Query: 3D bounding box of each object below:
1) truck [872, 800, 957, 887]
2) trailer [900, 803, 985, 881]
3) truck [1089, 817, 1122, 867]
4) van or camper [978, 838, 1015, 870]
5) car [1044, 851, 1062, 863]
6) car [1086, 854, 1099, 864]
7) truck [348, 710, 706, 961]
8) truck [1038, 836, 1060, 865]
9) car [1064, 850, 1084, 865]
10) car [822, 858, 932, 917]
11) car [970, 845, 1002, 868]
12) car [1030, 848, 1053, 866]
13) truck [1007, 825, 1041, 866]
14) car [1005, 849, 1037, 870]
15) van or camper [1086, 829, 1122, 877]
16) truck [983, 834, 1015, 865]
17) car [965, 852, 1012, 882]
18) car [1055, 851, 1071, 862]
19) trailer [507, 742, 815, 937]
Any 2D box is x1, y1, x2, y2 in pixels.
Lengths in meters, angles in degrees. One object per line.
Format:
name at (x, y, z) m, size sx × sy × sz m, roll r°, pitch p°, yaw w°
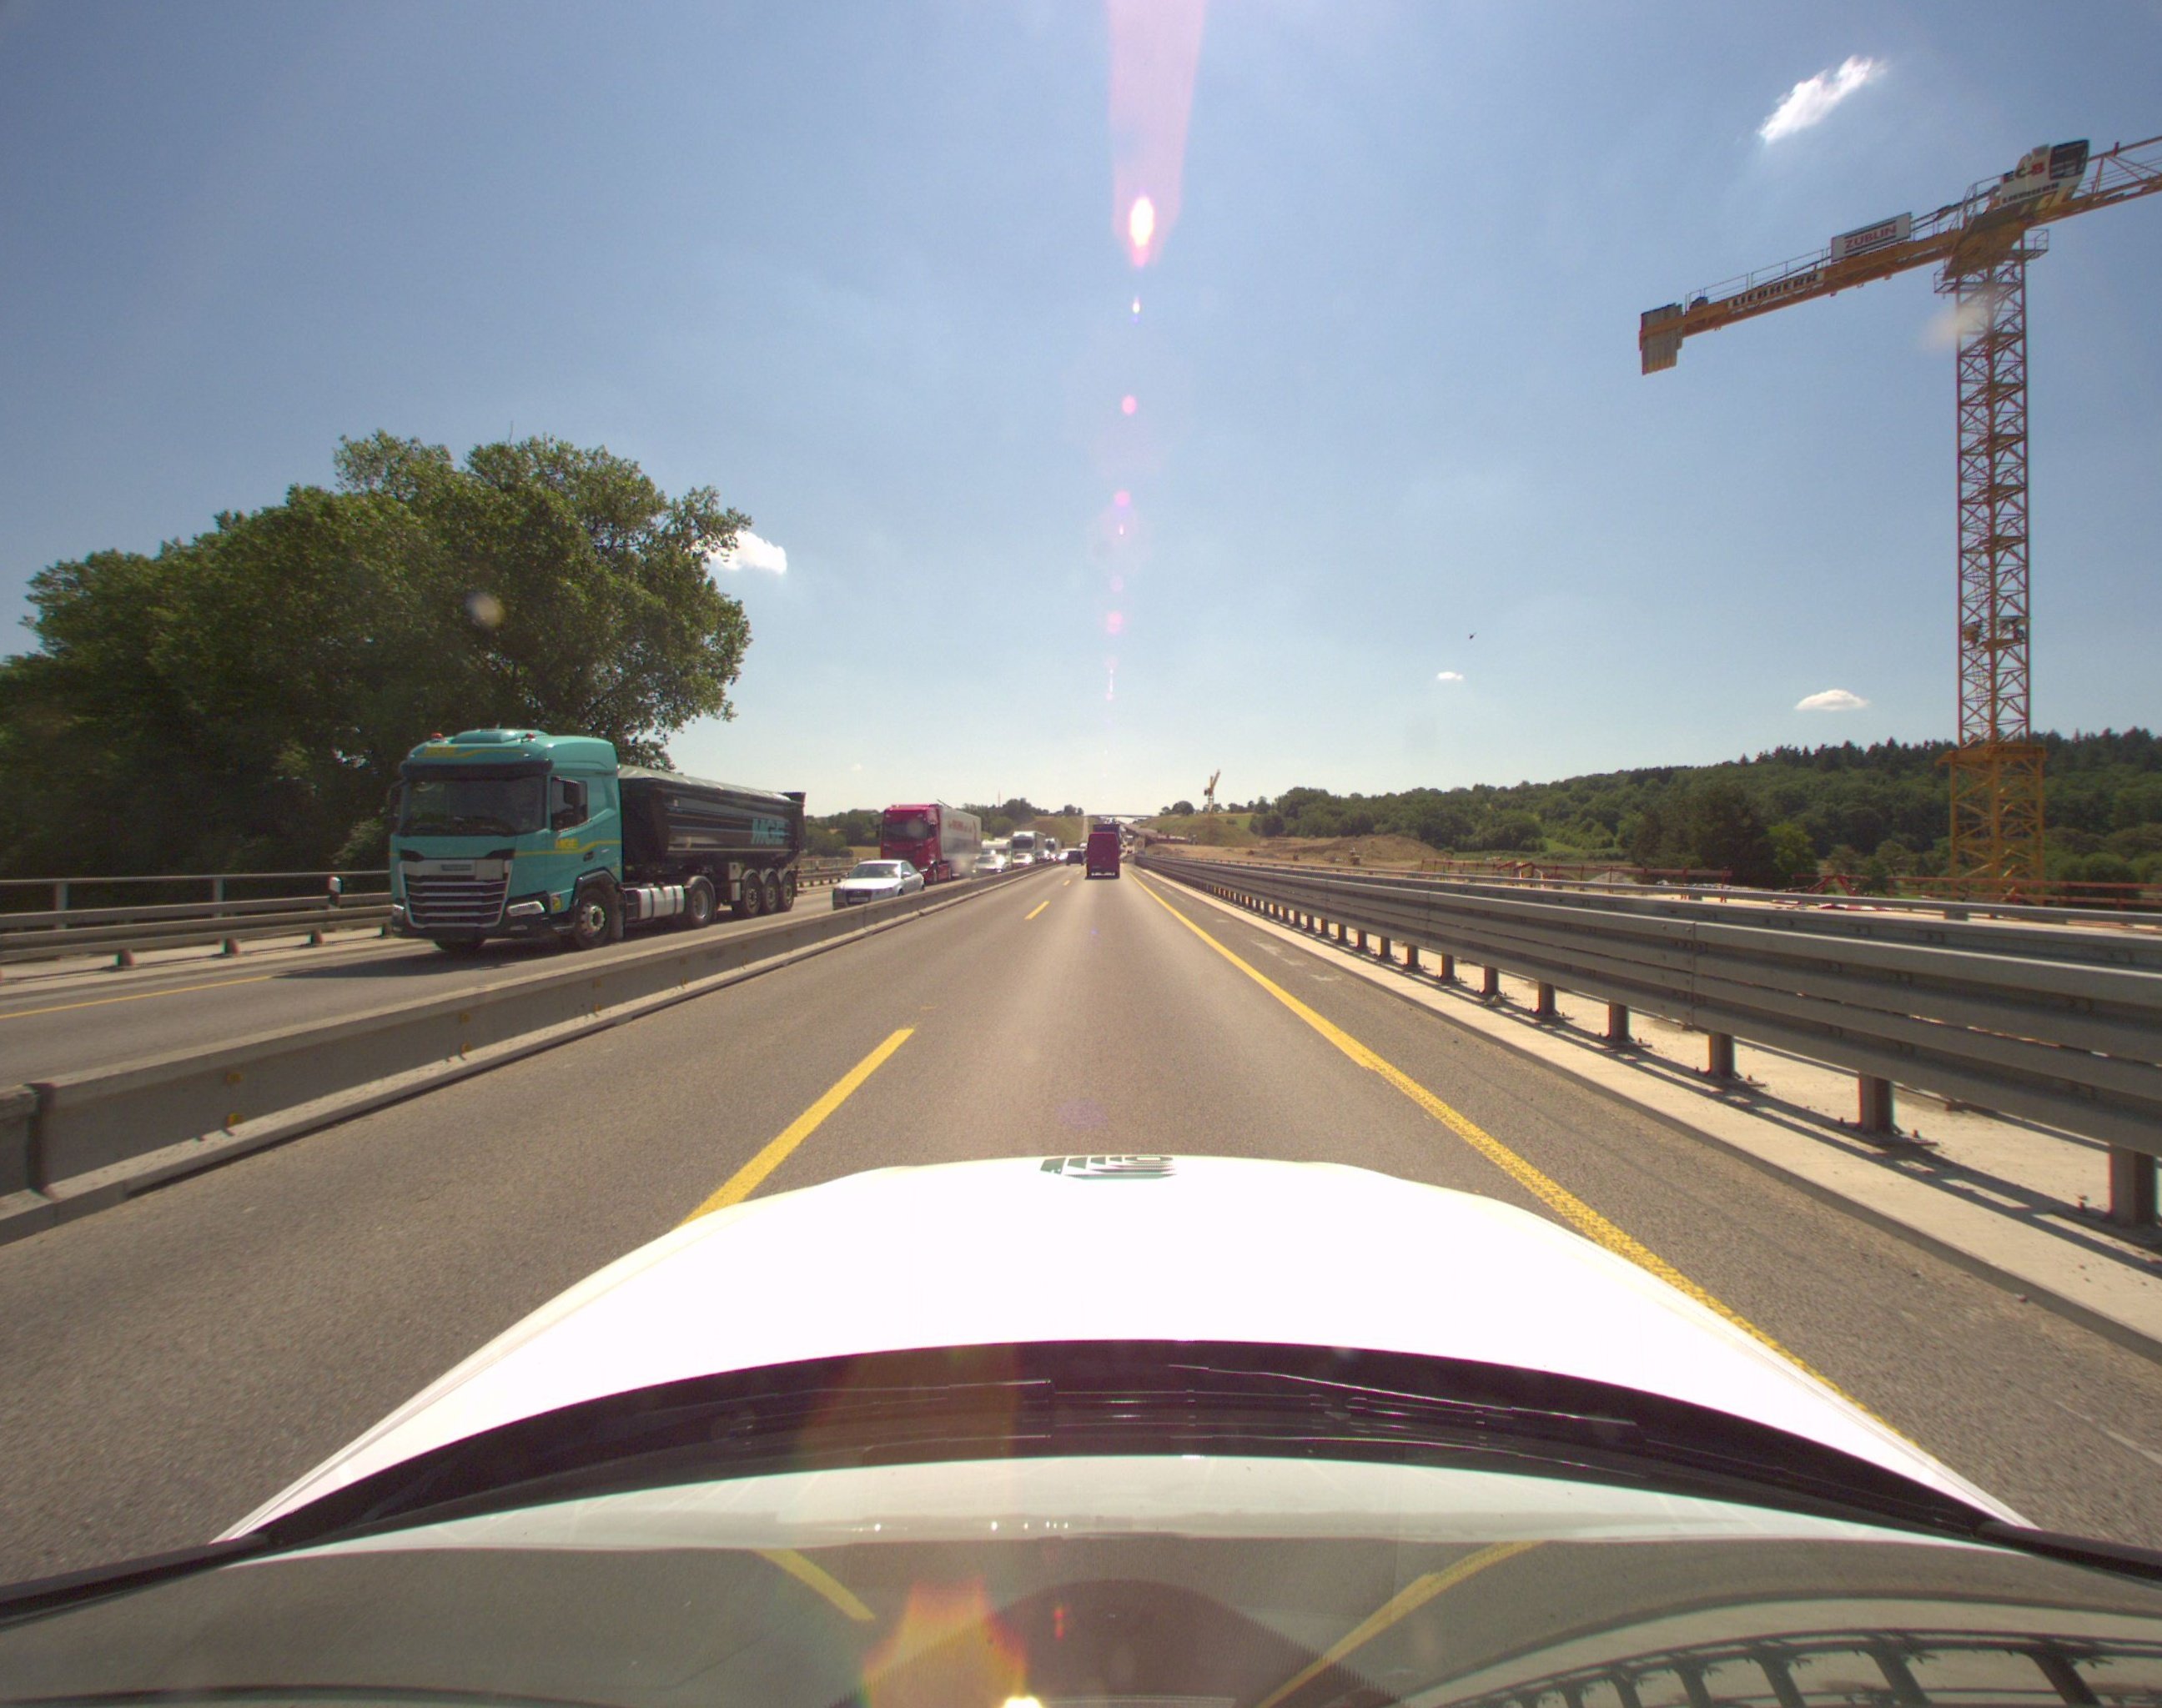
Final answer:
truck at (-8.340, -0.532, 41.692) m, size 2.805 × 4.037 × 6.525 m, roll 0°, pitch 1°, yaw 2°
trailer at (-8.114, -0.699, 49.589) m, size 2.796 × 4.176 × 11.804 m, roll 0°, pitch 1°, yaw 2°
truck at (2.374, -1.130, 81.607) m, size 3.011 × 4.693 × 6.931 m, roll -2°, pitch 0°, yaw 0°
van or camper at (-7.409, -0.003, 71.861) m, size 2.493 × 2.698 × 5.247 m, roll -1°, pitch 0°, yaw 3°
car at (-3.224, 0.326, 94.263) m, size 1.770 × 1.420 × 4.541 m, roll 1°, pitch 0°, yaw 2°
car at (1.885, 0.819, 132.460) m, size 2.005 × 1.545 × 4.133 m, roll 1°, pitch 0°, yaw 1°
truck at (-9.548, -0.274, 14.895) m, size 2.787 × 3.722 × 5.375 m, roll -1°, pitch 0°, yaw 1°
truck at (-5.031, -0.538, 128.671) m, size 2.795 × 4.392 × 6.229 m, roll -1°, pitch 0°, yaw 2°
car at (-0.743, 0.379, 86.790) m, size 2.005 × 1.545 × 4.132 m, roll -1°, pitch 0°, yaw 0°
car at (-5.521, 0.846, 22.687) m, size 1.775 × 1.379 × 4.711 m, roll -2°, pitch 0°, yaw 1°
car at (-7.508, 0.160, 64.883) m, size 1.761 × 1.734 × 4.793 m, roll 0°, pitch 0°, yaw 2°
car at (-3.884, 0.307, 80.788) m, size 1.841 × 1.688 × 4.620 m, roll 2°, pitch 0°, yaw 1°
truck at (-6.607, -0.945, 95.344) m, size 3.065 × 4.537 × 7.108 m, roll -1°, pitch 0°, yaw 3°
car at (-4.829, 0.399, 66.106) m, size 1.893 × 1.461 × 4.199 m, roll -3°, pitch 1°, yaw 4°
van or camper at (1.308, -0.075, 48.546) m, size 2.022 × 2.744 × 4.515 m, roll 0°, pitch 0°, yaw 0°
truck at (-10.308, -0.530, 102.657) m, size 2.893 × 3.764 × 8.372 m, roll 0°, pitch 0°, yaw 2°
car at (-5.035, 0.668, 45.178) m, size 1.883 × 1.487 × 4.921 m, roll 2°, pitch 0°, yaw 1°
car at (-2.370, 0.291, 107.613) m, size 1.858 × 1.459 × 4.610 m, roll 1°, pitch 0°, yaw 2°
trailer at (-9.449, -0.263, 19.955) m, size 2.785 × 3.672 × 8.957 m, roll -1°, pitch 0°, yaw 1°
